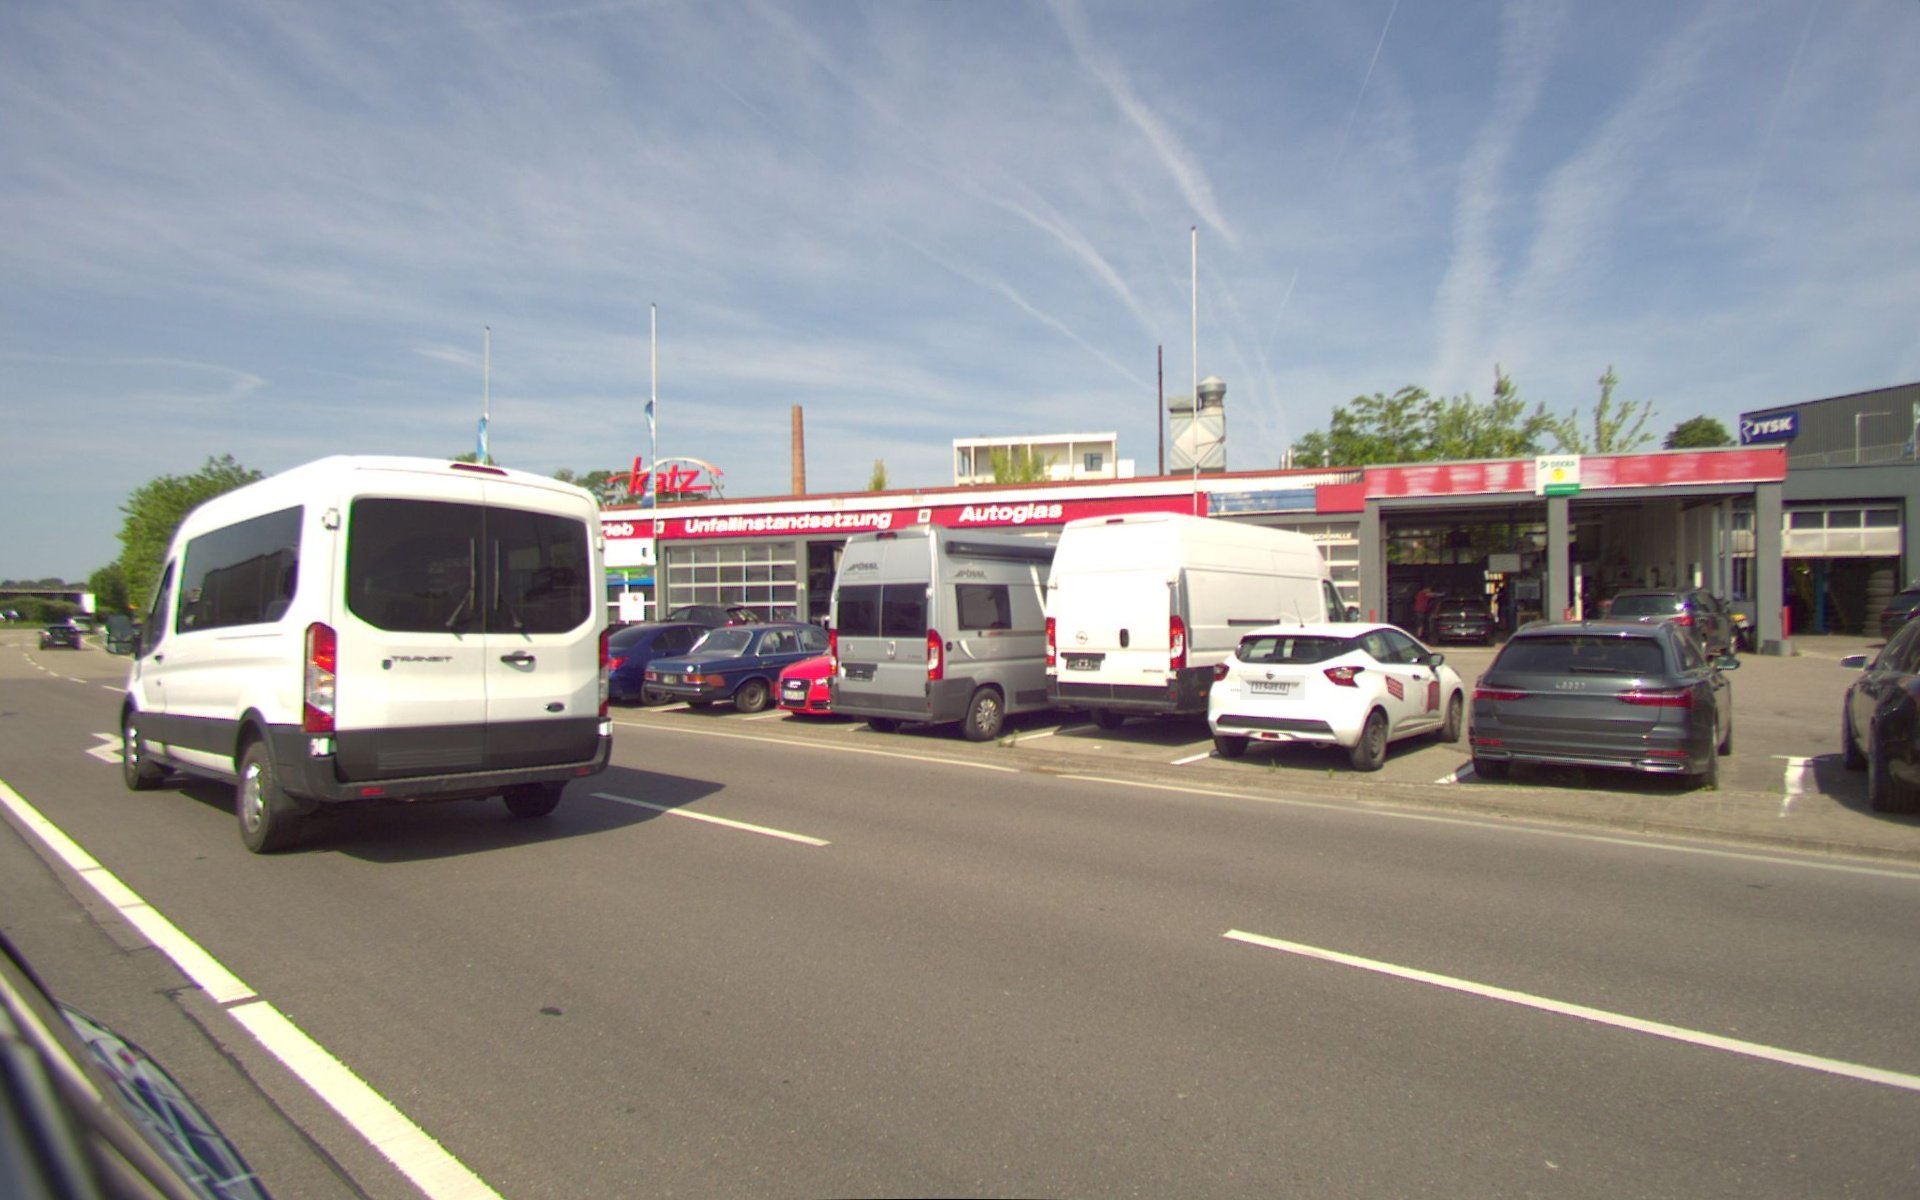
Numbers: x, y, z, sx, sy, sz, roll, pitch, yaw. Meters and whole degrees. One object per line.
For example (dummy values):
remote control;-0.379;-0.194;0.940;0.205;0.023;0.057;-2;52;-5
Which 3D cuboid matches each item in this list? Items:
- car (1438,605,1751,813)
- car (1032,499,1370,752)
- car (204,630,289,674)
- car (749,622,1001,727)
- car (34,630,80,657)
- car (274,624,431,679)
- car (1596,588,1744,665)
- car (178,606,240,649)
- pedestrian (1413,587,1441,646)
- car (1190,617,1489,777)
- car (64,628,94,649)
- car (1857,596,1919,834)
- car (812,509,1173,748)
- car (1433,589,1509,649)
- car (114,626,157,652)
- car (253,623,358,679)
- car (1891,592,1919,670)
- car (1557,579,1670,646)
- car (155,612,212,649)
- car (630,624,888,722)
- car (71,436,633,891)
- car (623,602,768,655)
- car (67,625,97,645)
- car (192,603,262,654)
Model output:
car;6.328;0.843;9.848;2.027;1.542;4.323;-1;-1;39
car;3.617;0.339;14.263;2.116;2.860;5.647;-3;-2;42
car;-26.434;1.870;37.431;4.000;1.425;1.742;-2;2;43
car;-1.283;1.107;16.428;1.827;1.442;3.896;-2;-1;42
car;-51.649;2.456;57.871;1.832;1.471;4.003;1;-1;-44
car;-18.742;1.542;31.321;1.940;1.562;3.750;-1;-1;39
car;16.482;0.592;23.433;4.039;1.620;1.887;0;-1;-41
car;-47.160;1.701;63.487;2.405;2.563;5.343;-1;-1;-44
pedestrian;14.118;0.483;30.602;0.739;1.740;0.860;-1;1;24
car;4.476;0.956;11.612;1.881;1.481;3.944;-2;-1;42
car;-81.083;3.543;93.079;1.947;1.837;4.207;2;-3;-42
car;8.144;0.748;7.562;2.030;1.542;3.993;-1;-1;40
car;0.696;0.367;14.625;2.177;2.794;5.506;-2;-1;42
car;15.068;0.523;29.967;1.858;1.574;4.067;-1;1;26
car;-50.971;2.394;62.558;1.801;1.538;4.464;2;-3;-42
car;-21.417;1.625;33.083;4.001;1.567;1.972;-2;3;44
car;19.560;0.546;18.130;4.045;1.421;1.776;-1;-1;0
car;19.015;0.387;29.653;1.736;1.821;4.078;-1;-1;18
car;-51.634;2.020;67.252;2.405;2.281;5.343;-1;-1;-44
car;-3.424;1.182;17.862;1.873;1.479;4.202;-2;-1;42
car;-5.669;0.422;8.729;7.110;2.529;2.037;-1;-1;41
car;-8.807;0.957;33.674;4.508;1.667;1.860;-1;-1;24
car;-83.635;3.360;96.386;2.024;1.837;4.513;2;-3;-42
car;-39.578;1.526;54.804;2.399;2.563;6.060;-1;-1;-30
